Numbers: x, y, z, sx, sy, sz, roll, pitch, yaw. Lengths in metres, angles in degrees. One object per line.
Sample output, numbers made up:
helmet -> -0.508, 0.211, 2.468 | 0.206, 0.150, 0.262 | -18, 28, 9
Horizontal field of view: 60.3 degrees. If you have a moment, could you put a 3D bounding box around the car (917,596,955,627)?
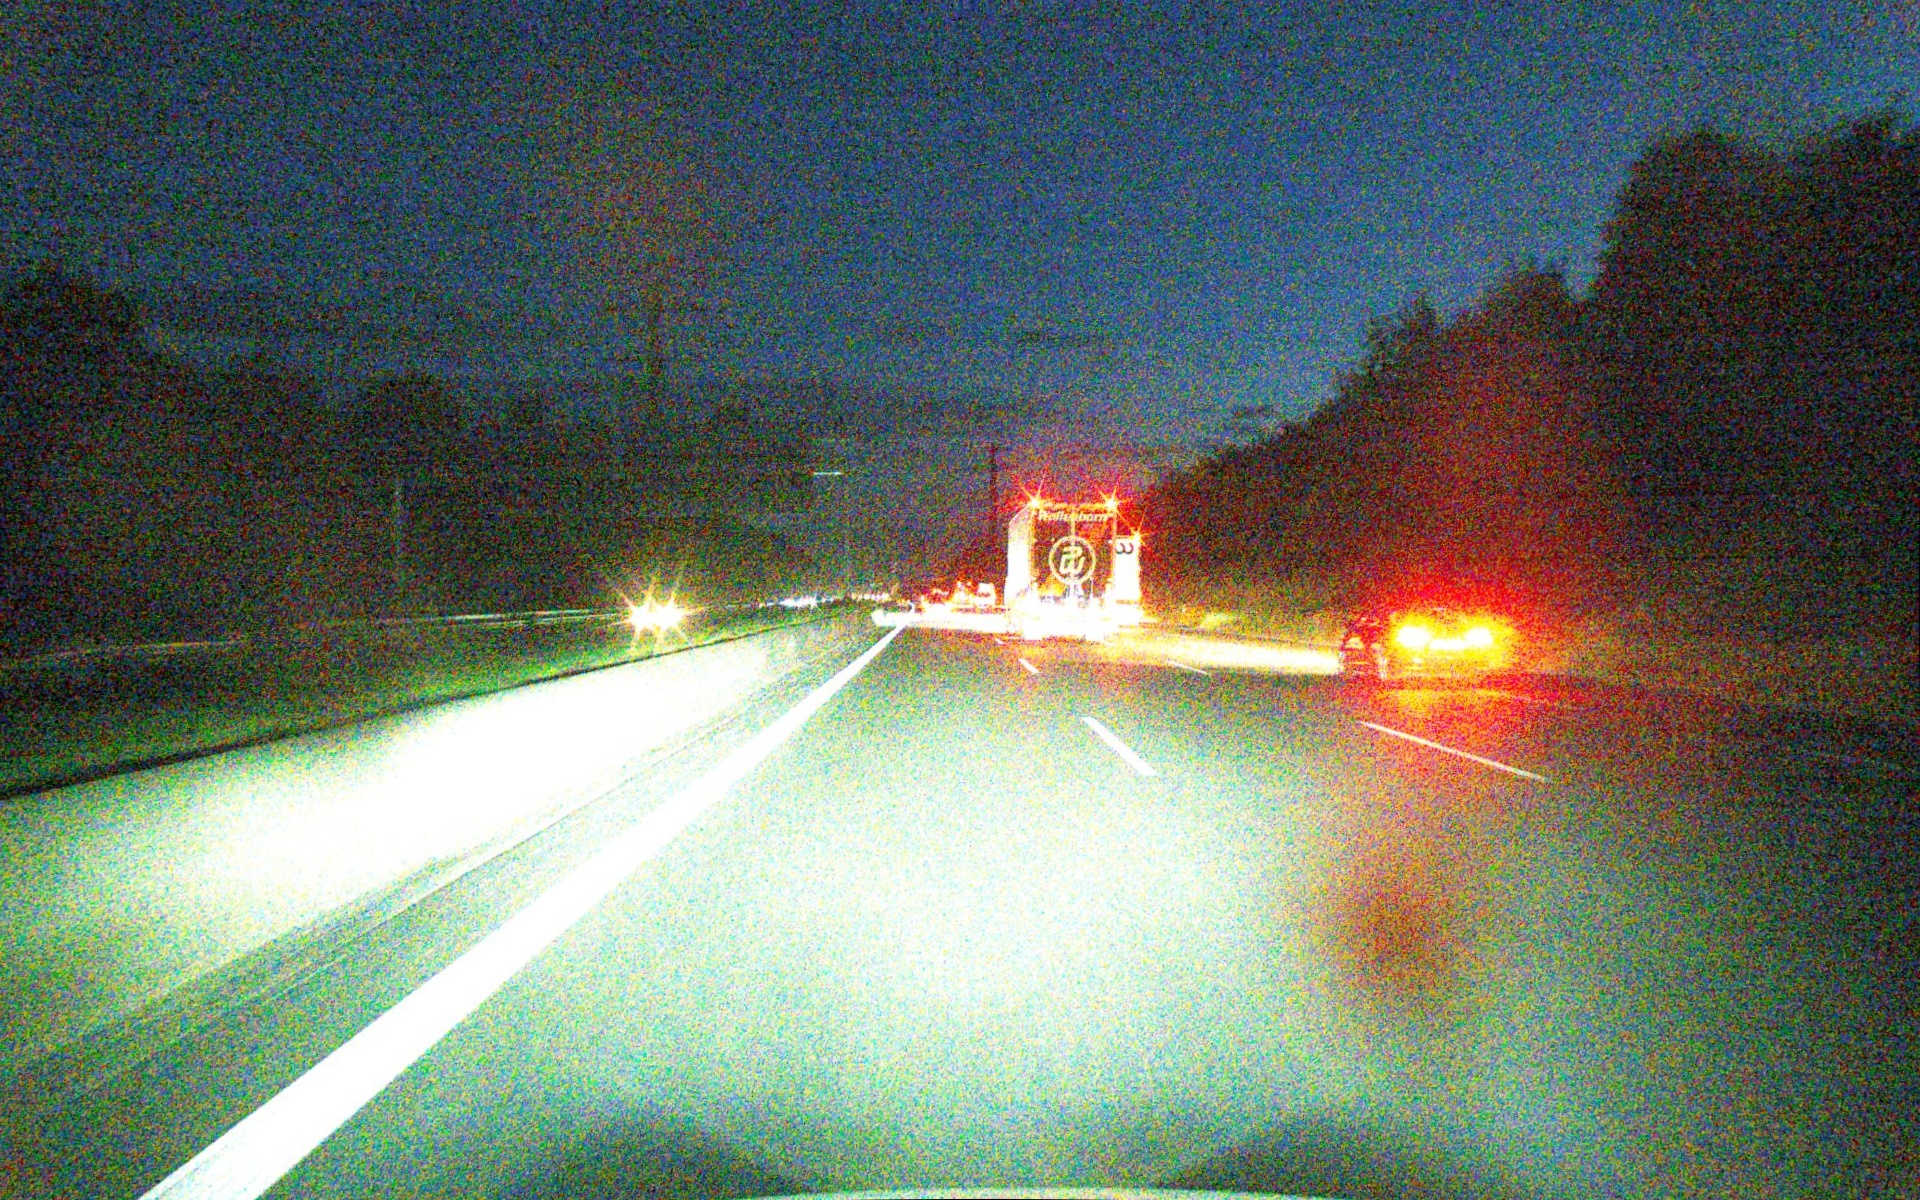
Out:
car -> -1.242, 0.554, 83.984 | 1.784, 1.492, 4.245 | 1, 0, -2

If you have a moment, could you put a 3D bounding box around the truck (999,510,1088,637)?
truck -> 2.915, -0.905, 59.454 | 2.608, 4.280, 6.720 | 1, 0, -2

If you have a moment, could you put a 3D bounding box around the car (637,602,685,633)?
car -> -16.010, 0.908, 88.766 | 1.785, 1.491, 4.558 | -4, 0, -2

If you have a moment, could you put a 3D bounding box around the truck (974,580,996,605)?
truck -> 2.935, -0.843, 196.385 | 2.036, 2.738, 7.301 | 1, -1, -4

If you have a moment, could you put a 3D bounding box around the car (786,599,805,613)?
car -> -18.255, 0.677, 183.868 | 1.715, 1.504, 4.941 | -2, 0, -2

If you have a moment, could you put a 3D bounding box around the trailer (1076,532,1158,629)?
trailer -> 7.140, -0.862, 76.643 | 2.538, 4.143, 10.005 | 1, 0, -2

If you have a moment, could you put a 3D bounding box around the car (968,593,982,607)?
car -> 1.544, 0.032, 173.007 | 1.319, 1.411, 3.500 | 1, 0, -2

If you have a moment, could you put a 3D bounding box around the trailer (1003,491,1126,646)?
trailer -> 3.099, -0.889, 53.095 | 2.687, 4.280, 13.506 | 1, 0, -2

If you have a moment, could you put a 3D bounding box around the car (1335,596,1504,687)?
car -> 8.199, 0.698, 29.878 | 1.784, 1.492, 4.246 | 1, 0, -1
